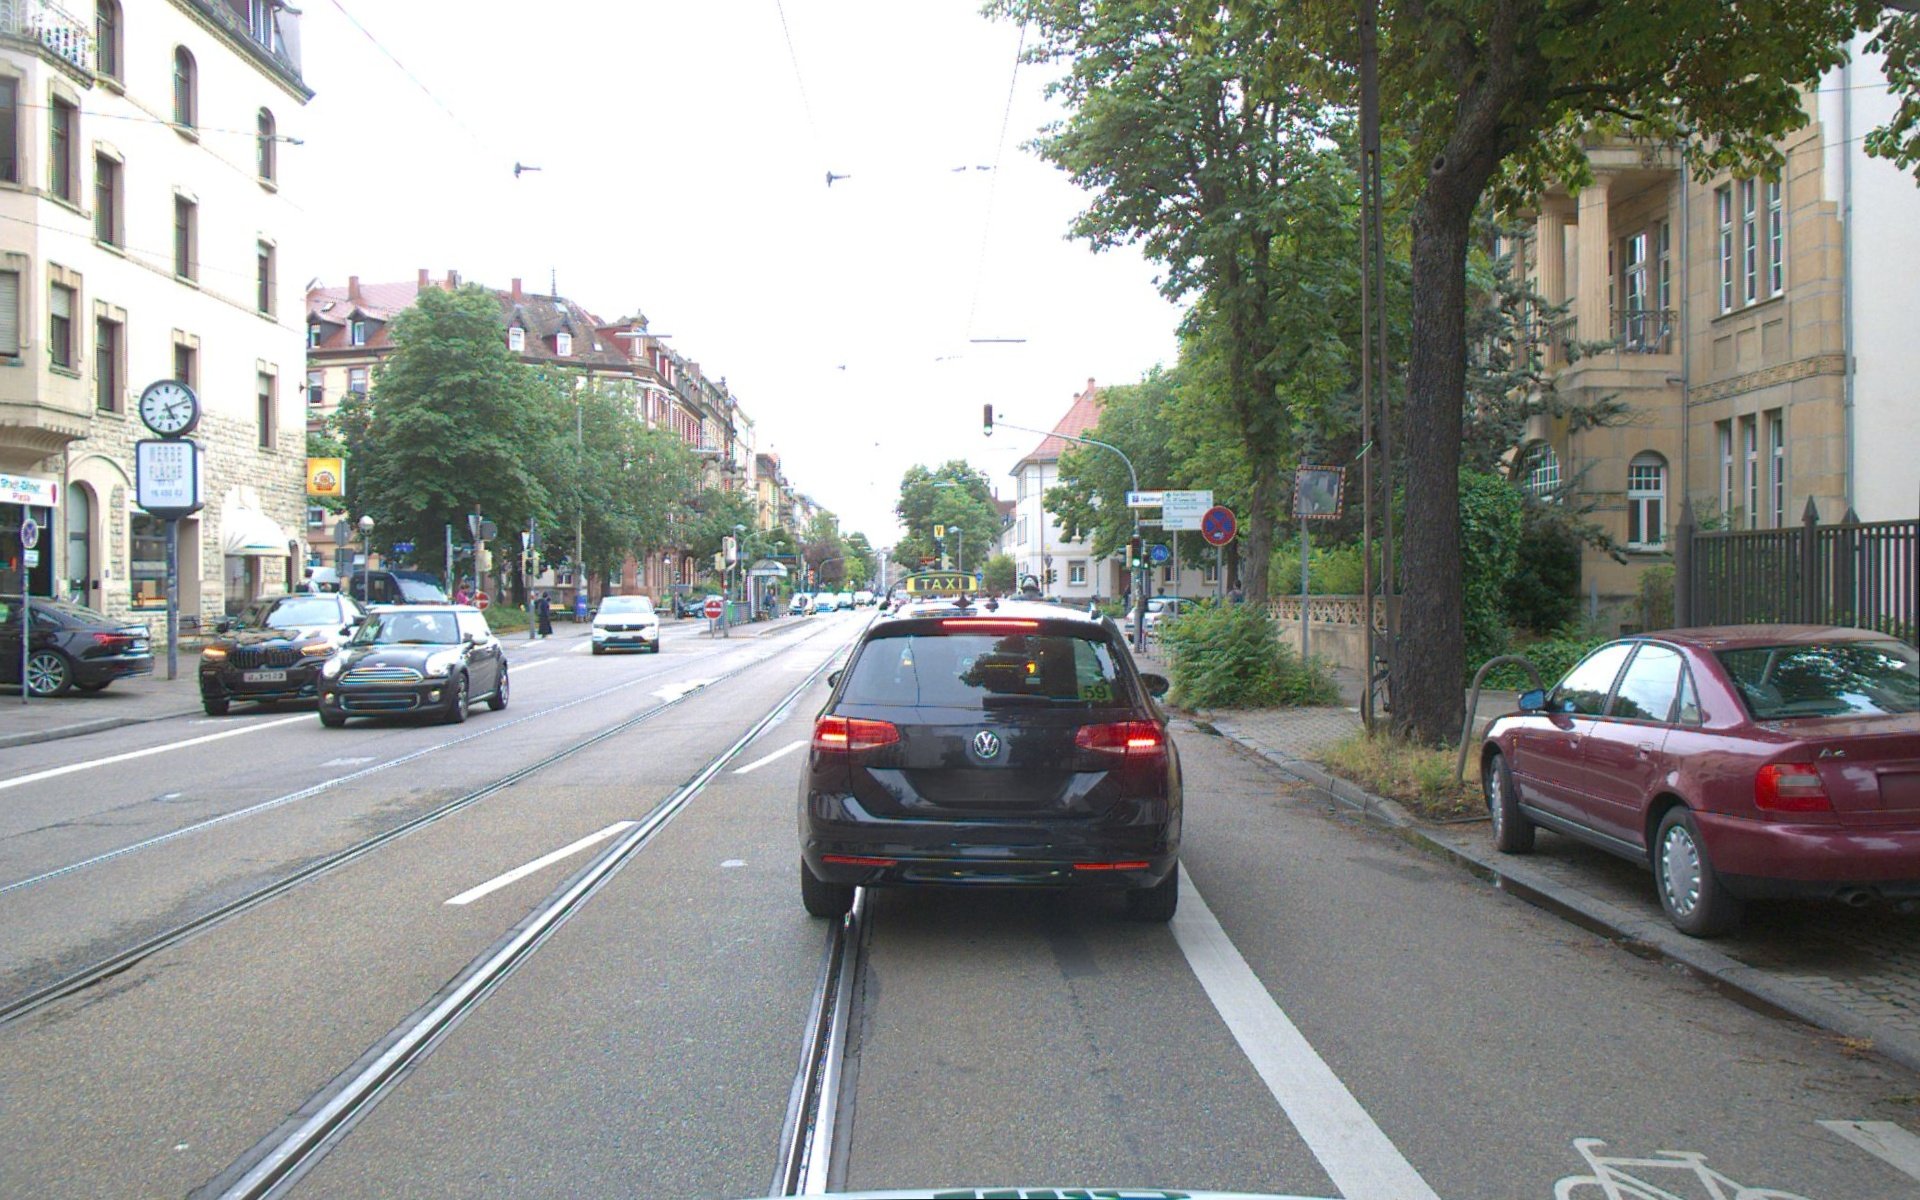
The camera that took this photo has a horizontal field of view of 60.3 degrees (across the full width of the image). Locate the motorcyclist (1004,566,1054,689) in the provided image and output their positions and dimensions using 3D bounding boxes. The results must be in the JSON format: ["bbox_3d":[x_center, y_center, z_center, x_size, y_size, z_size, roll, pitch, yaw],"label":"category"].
[{"bbox_3d":[0.976,0.382,23.510,0.688,1.722,0.804,-1,0,1],"label":"motorcyclist"}]

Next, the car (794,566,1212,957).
[{"bbox_3d":[0.125,0.639,8.684,1.689,1.573,3.999,0,0,-2],"label":"car"}]

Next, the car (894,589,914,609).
[{"bbox_3d":[-5.784,-0.094,170.487,1.992,2.049,3.998,1,0,-2],"label":"car"}]

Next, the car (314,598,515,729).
[{"bbox_3d":[-6.769,0.727,20.858,1.577,1.447,3.483,-1,0,-5],"label":"car"}]

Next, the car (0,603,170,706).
[{"bbox_3d":[-14.561,0.765,24.930,4.340,1.394,1.878,2,0,-6],"label":"car"}]

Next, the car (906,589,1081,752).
[{"bbox_3d":[0.274,0.672,17.982,1.689,1.573,3.999,0,0,-2],"label":"car"}]

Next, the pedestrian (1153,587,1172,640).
[{"bbox_3d":[7.173,0.470,58.586,0.503,1.862,0.418,-3,0,15],"label":"pedestrian"}]

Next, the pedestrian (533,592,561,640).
[{"bbox_3d":[-14.798,0.561,59.292,0.819,1.692,0.591,0,0,0],"label":"pedestrian"}]

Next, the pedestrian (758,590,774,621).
[{"bbox_3d":[-9.758,0.255,83.207,0.699,1.547,0.590,0,0,0],"label":"pedestrian"}]

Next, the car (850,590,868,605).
[{"bbox_3d":[-11.404,-0.281,186.522,1.758,1.624,4.001,0,0,1],"label":"car"}]

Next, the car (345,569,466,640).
[{"bbox_3d":[-20.204,0.166,60.149,2.169,2.460,5.294,0,0,-44],"label":"car"}]

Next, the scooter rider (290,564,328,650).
[{"bbox_3d":[-15.597,0.166,39.640,0.629,2.049,0.757,-1,0,-3],"label":"scooter rider"}]

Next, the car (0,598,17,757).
[{"bbox_3d":[-9.863,0.755,13.607,1.712,1.510,4.607,-1,0,-3],"label":"car"}]

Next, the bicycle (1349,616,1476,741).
[{"bbox_3d":[4.643,0.778,16.900,0.426,1.219,1.891,0,-1,43],"label":"bicycle"}]

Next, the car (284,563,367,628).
[{"bbox_3d":[-26.505,-0.192,69.001,2.159,2.571,5.318,0,0,-33],"label":"car"}]

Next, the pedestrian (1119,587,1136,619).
[{"bbox_3d":[8.461,0.139,83.593,0.604,1.581,0.575,0,0,-41],"label":"pedestrian"}]

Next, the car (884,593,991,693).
[{"bbox_3d":[-0.404,0.668,28.059,1.689,1.573,3.999,0,0,-2],"label":"car"}]

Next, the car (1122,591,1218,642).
[{"bbox_3d":[6.929,0.532,54.345,1.954,1.605,3.996,0,0,26],"label":"car"}]

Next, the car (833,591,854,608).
[{"bbox_3d":[-10.481,-0.019,148.984,1.686,1.490,3.862,0,0,-2],"label":"car"}]

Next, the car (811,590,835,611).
[{"bbox_3d":[-10.915,-0.005,132.098,1.686,1.651,3.862,0,0,-2],"label":"car"}]

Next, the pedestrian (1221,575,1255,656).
[{"bbox_3d":[6.445,0.350,38.351,0.619,1.846,0.725,0,0,-4],"label":"pedestrian"}]

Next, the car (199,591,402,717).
[{"bbox_3d":[-9.918,0.741,25.255,1.849,1.639,4.875,-3,0,-10],"label":"car"}]

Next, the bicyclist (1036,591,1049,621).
[{"bbox_3d":[4.407,0.295,88.278,0.637,1.596,0.696,-1,0,5],"label":"bicyclist"}]

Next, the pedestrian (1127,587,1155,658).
[{"bbox_3d":[4.902,0.599,44.752,0.573,1.862,0.604,-3,0,-1],"label":"pedestrian"}]

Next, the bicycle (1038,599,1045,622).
[{"bbox_3d":[4.353,0.561,88.194,0.291,1.244,1.431,-1,0,6],"label":"bicycle"}]

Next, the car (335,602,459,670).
[{"bbox_3d":[-12.710,0.772,37.583,1.616,1.385,4.126,2,0,-4],"label":"car"}]

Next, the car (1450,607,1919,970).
[{"bbox_3d":[4.180,0.802,9.109,1.570,1.423,4.226,-2,0,-2],"label":"car"}]

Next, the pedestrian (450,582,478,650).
[{"bbox_3d":[-13.874,0.449,46.238,0.610,1.875,0.609,0,0,-4],"label":"pedestrian"}]

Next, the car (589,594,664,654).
[{"bbox_3d":[-9.102,0.630,45.407,1.666,1.522,3.925,-2,0,-7],"label":"car"}]

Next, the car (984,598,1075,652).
[{"bbox_3d":[2.031,0.679,47.285,1.851,1.432,4.003,-1,0,14],"label":"car"}]

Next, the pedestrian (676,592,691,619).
[{"bbox_3d":[-16.205,0.308,96.920,0.577,1.547,0.647,0,0,34],"label":"pedestrian"}]

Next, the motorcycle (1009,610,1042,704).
[{"bbox_3d":[0.924,0.783,23.471,0.437,1.257,1.907,-1,0,2],"label":"motorcycle"}]

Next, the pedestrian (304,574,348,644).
[{"bbox_3d":[-18.863,0.257,49.213,0.954,2.049,0.835,-1,0,-2],"label":"pedestrian"}]

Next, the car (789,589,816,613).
[{"bbox_3d":[-11.154,0.078,117.084,1.686,1.651,3.862,0,0,-2],"label":"car"}]
